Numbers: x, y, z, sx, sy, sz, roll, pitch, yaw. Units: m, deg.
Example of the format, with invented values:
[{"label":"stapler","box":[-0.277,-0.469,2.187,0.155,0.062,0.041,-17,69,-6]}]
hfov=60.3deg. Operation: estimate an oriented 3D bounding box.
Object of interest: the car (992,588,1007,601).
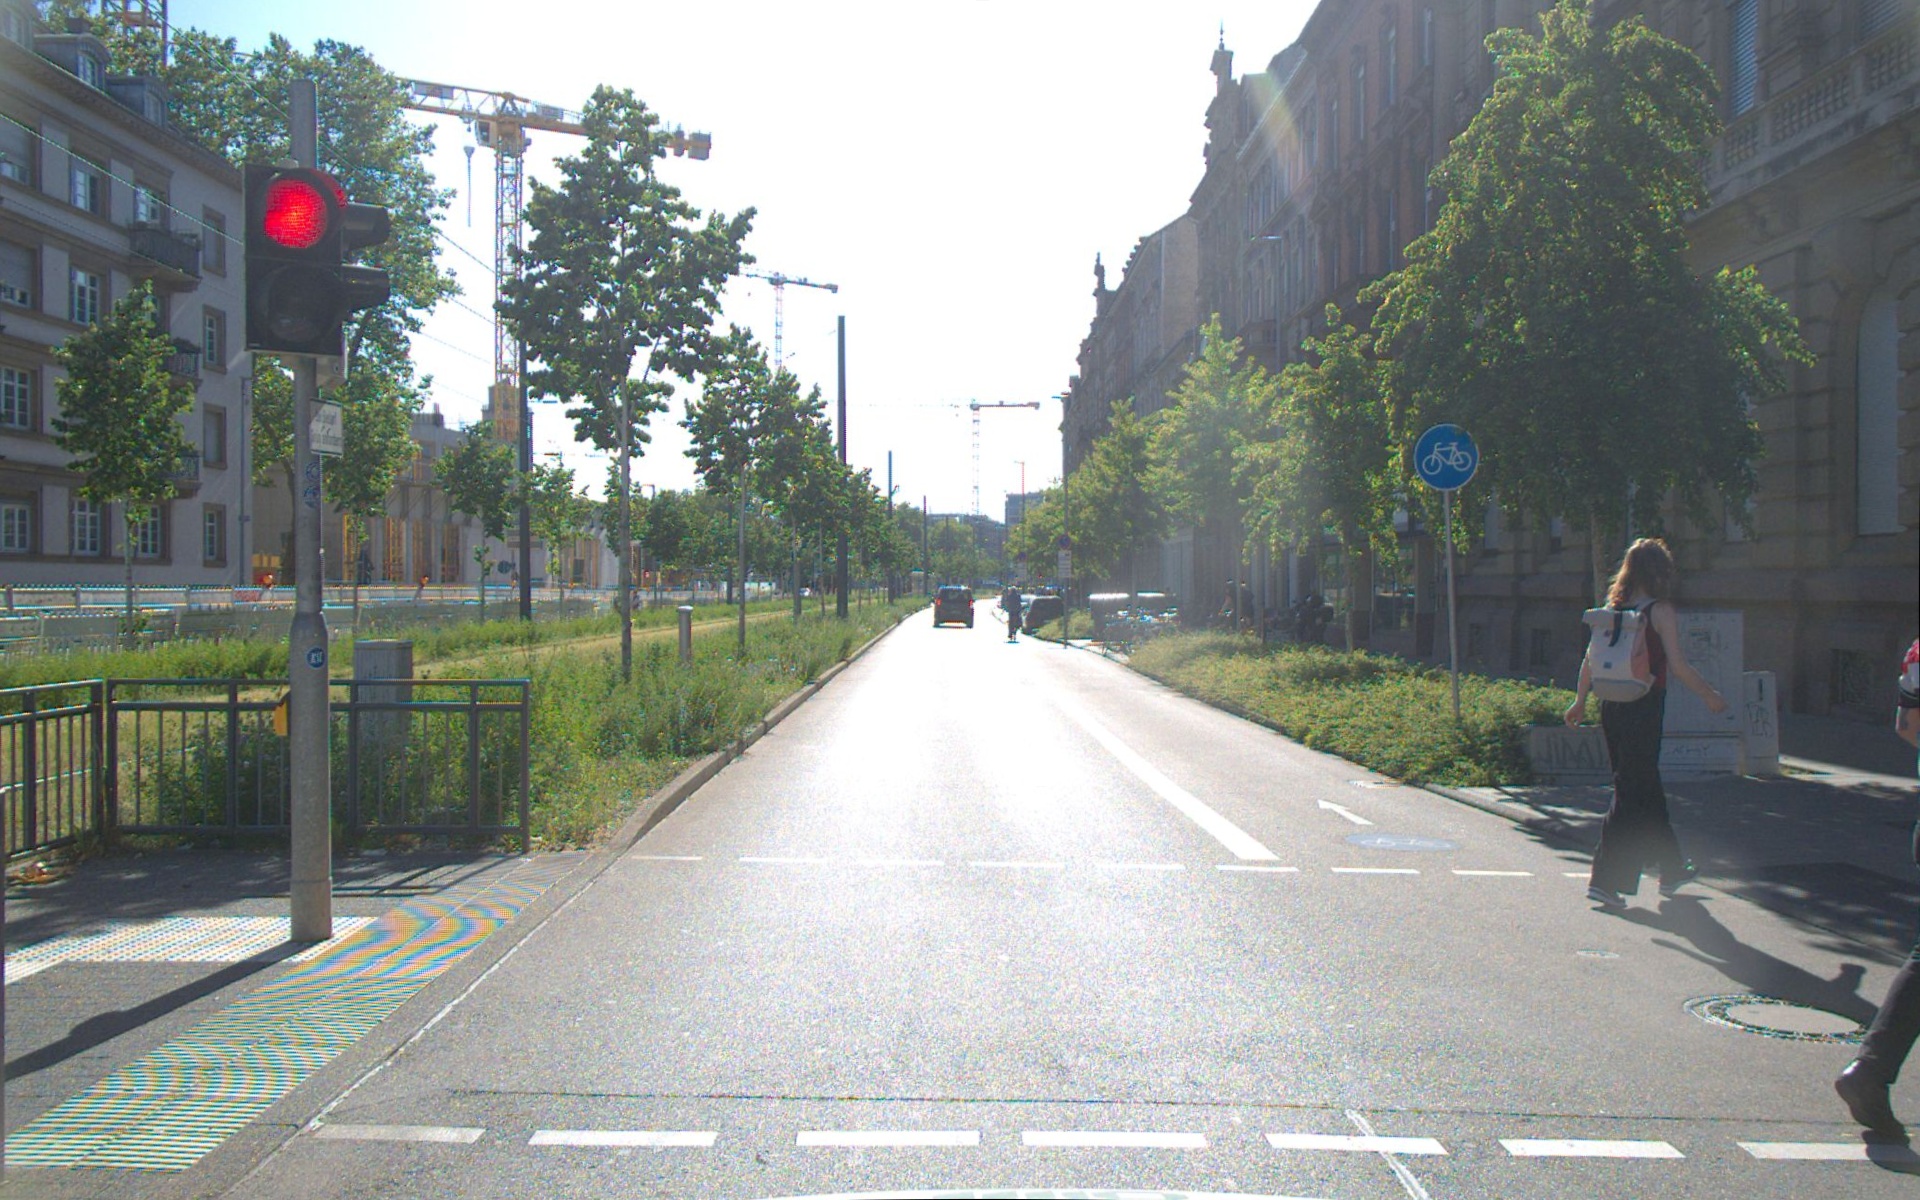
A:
[{"label":"car","box":[5.594,-0.759,235.019,1.953,1.759,3.999,1,0,-1]}]

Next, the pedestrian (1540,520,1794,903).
[{"label":"pedestrian","box":[3.733,0.558,8.784,1.055,1.942,0.652,0,0,-7]}]

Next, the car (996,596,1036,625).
[{"label":"car","box":[3.097,0.568,92.338,1.987,1.525,4.529,0,0,-1]}]

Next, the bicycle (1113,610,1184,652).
[{"label":"bicycle","box":[4.844,0.800,42.563,1.756,1.048,0.527,0,0,-1]}]

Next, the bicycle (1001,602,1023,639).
[{"label":"bicycle","box":[1.753,0.689,55.979,0.589,1.201,1.869,2,0,-1]}]

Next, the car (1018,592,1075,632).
[{"label":"car","box":[3.498,0.464,67.496,1.987,1.525,4.653,0,0,-1]}]

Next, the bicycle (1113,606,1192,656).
[{"label":"bicycle","box":[4.602,0.749,39.665,1.756,1.048,0.527,-4,0,-1]}]

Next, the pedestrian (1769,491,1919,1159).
[{"label":"pedestrian","box":[3.022,0.615,4.754,0.848,1.819,0.969,1,0,-7]}]

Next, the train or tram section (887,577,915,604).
[{"label":"train or tram section","box":[-6.483,-1.037,182.153,2.700,2.790,9.862,1,0,0]}]

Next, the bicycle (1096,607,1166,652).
[{"label":"bicycle","box":[4.544,0.772,43.999,1.756,1.048,0.527,-4,0,-1]}]

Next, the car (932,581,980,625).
[{"label":"car","box":[-0.219,0.111,76.334,2.155,1.960,4.653,0,0,-1]}]

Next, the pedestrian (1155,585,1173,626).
[{"label":"pedestrian","box":[8.339,0.226,67.634,0.601,1.640,0.669,0,0,-1]}]

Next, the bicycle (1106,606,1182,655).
[{"label":"bicycle","box":[4.575,0.754,41.160,1.756,1.048,0.527,-4,0,-1]}]

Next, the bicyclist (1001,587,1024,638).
[{"label":"bicyclist","box":[1.772,0.415,56.192,0.670,1.702,0.922,2,0,-2]}]

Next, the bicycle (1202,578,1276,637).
[{"label":"bicycle","box":[6.810,0.194,40.507,0.610,1.353,1.878,-4,0,-33]}]

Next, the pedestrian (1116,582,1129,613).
[{"label":"pedestrian","box":[8.576,-0.148,87.518,0.601,1.640,0.669,0,0,-1]}]

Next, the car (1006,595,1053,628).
[{"label":"car","box":[3.343,0.522,79.815,1.987,1.525,4.529,0,0,-1]}]

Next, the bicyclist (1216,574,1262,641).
[{"label":"bicyclist","box":[6.818,0.188,40.476,0.654,1.556,0.791,-4,0,-33]}]

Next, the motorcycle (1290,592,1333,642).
[{"label":"motorcycle","box":[9.400,0.442,44.292,0.686,1.289,1.981,0,0,-1]}]
